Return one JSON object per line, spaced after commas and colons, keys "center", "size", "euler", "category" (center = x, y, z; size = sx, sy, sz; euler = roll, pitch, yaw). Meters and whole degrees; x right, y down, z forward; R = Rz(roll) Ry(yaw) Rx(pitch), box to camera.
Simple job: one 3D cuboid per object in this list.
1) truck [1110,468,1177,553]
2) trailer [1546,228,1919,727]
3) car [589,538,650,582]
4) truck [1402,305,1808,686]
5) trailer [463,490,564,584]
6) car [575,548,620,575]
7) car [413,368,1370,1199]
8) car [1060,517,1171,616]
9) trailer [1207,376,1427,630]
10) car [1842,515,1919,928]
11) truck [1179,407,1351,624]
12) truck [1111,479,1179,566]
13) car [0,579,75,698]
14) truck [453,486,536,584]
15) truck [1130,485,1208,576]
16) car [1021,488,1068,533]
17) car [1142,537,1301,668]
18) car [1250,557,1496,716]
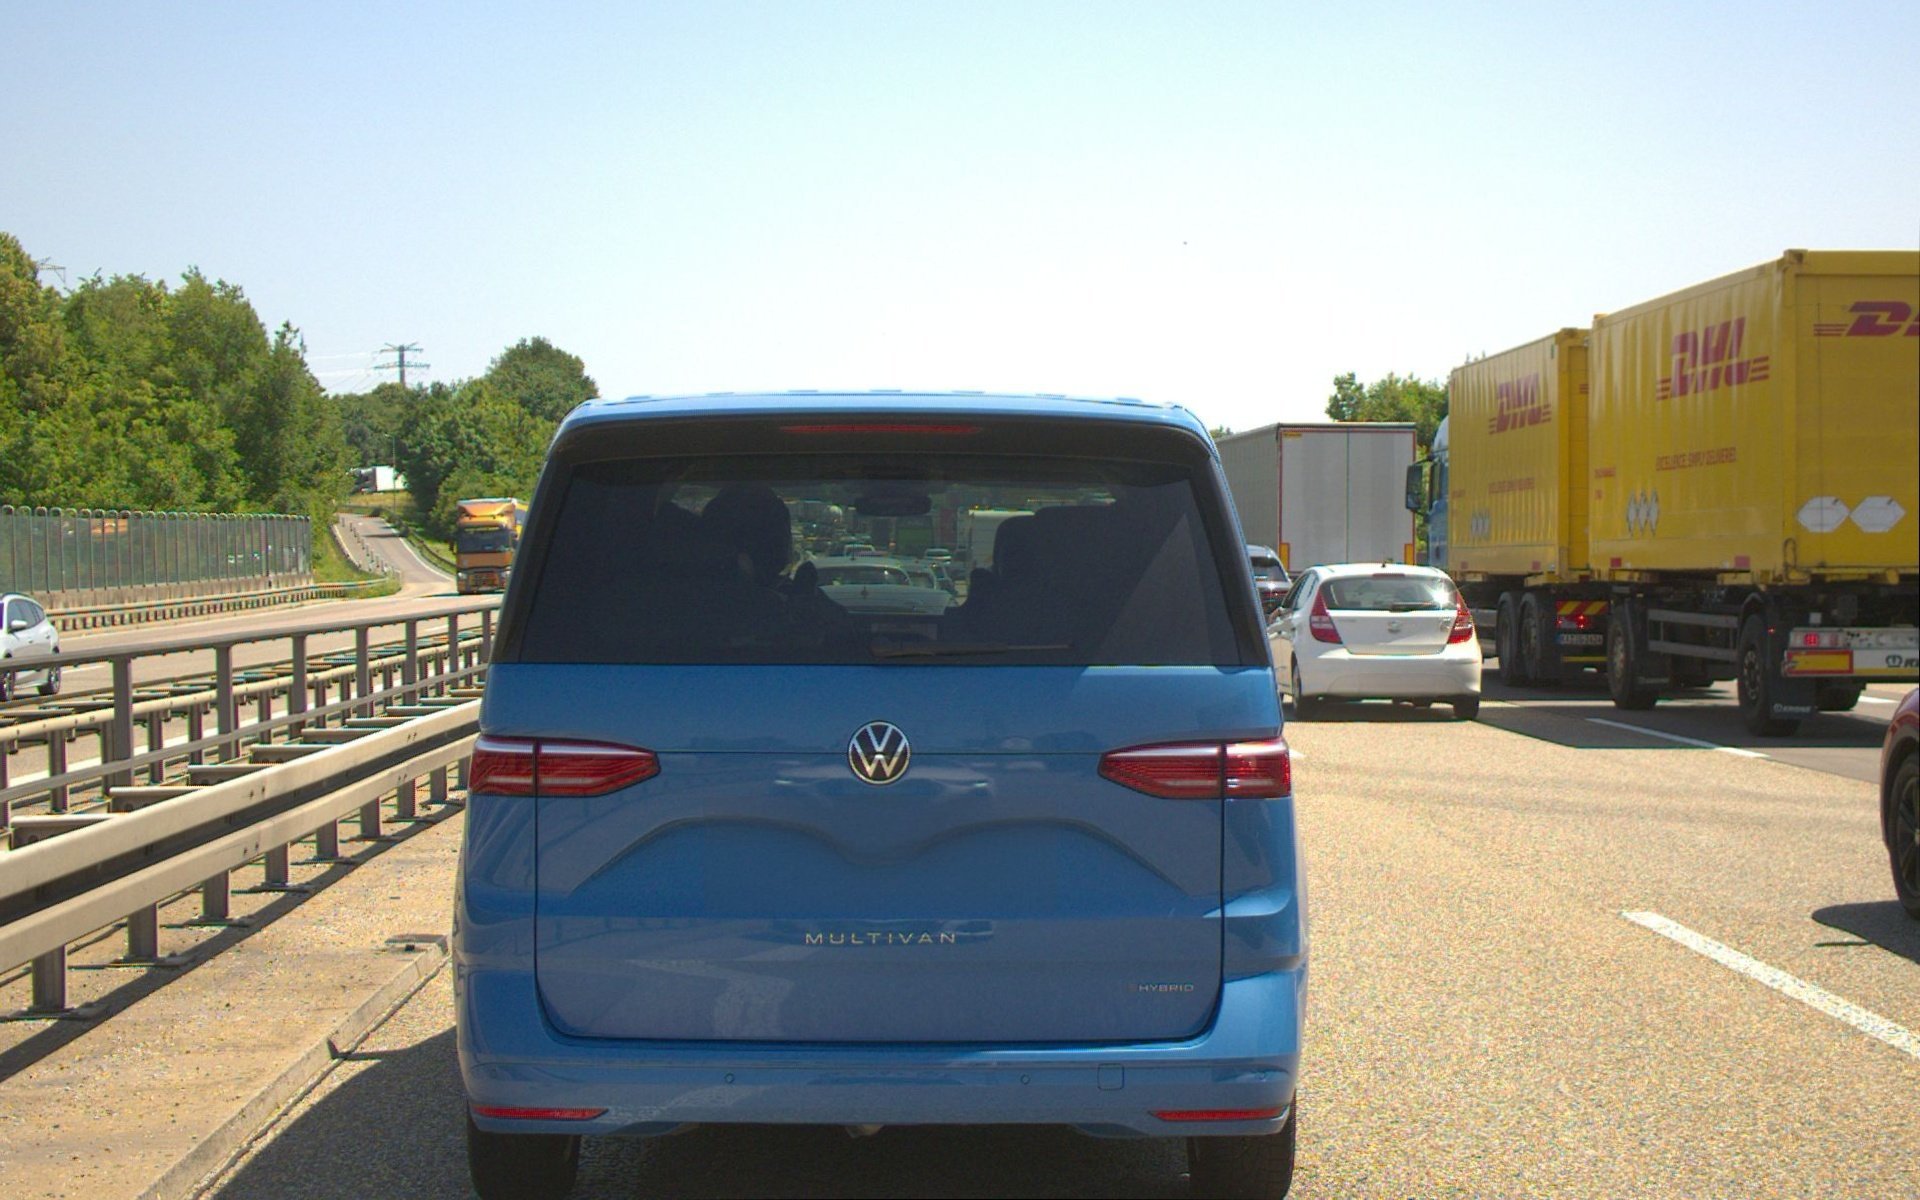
{"center": [5.799, -2.799, 109.006], "size": [1.797, 2.587, 4.306], "euler": [1, 0, -1], "category": "truck"}
{"center": [7.885, -1.020, 32.668], "size": [2.682, 4.074, 8.981], "euler": [1, 0, -2], "category": "trailer"}
{"center": [-12.290, -1.442, 124.213], "size": [1.762, 1.503, 4.223], "euler": [-2, 1, 0], "category": "car"}
{"center": [7.598, -1.150, 42.068], "size": [2.699, 4.074, 9.941], "euler": [1, 0, -2], "category": "truck"}
{"center": [-20.328, -2.799, 157.446], "size": [2.628, 4.100, 14.016], "euler": [-1, 0, 1], "category": "trailer"}
{"center": [-18.832, -1.993, 178.573], "size": [1.689, 1.299, 4.012], "euler": [-3, 0, 2], "category": "car"}
{"center": [-0.179, 0.463, 9.009], "size": [1.930, 1.867, 4.000], "euler": [1, 0, -1], "category": "car"}
{"center": [3.123, -0.673, 69.581], "size": [1.962, 1.929, 3.932], "euler": [1, 0, -1], "category": "car"}
{"center": [6.897, -1.793, 68.135], "size": [3.026, 4.595, 10.925], "euler": [1, 0, -1], "category": "trailer"}
{"center": [4.804, 0.521, 12.836], "size": [1.708, 1.673, 4.285], "euler": [2, 0, -2], "category": "car"}
{"center": [6.776, -1.830, 77.517], "size": [3.026, 4.595, 7.921], "euler": [1, 0, -1], "category": "truck"}
{"center": [5.573, -2.326, 104.121], "size": [1.742, 2.540, 4.210], "euler": [1, 0, -1], "category": "truck"}
{"center": [-13.520, 0.528, 46.418], "size": [1.993, 1.539, 4.386], "euler": [-2, 0, -1], "category": "car"}
{"center": [-20.402, -2.812, 151.016], "size": [2.672, 4.171, 6.287], "euler": [-1, 0, 1], "category": "truck"}
{"center": [5.753, -1.900, 95.223], "size": [1.798, 2.441, 4.504], "euler": [1, 0, -1], "category": "truck"}
{"center": [3.917, -4.144, 159.836], "size": [1.993, 2.007, 4.000], "euler": [1, 0, -1], "category": "car"}
{"center": [3.500, 0.021, 46.597], "size": [1.815, 1.673, 3.932], "euler": [1, 0, 0], "category": "car"}
{"center": [4.009, 0.330, 33.953], "size": [1.815, 1.465, 3.932], "euler": [1, 0, -2], "category": "car"}
